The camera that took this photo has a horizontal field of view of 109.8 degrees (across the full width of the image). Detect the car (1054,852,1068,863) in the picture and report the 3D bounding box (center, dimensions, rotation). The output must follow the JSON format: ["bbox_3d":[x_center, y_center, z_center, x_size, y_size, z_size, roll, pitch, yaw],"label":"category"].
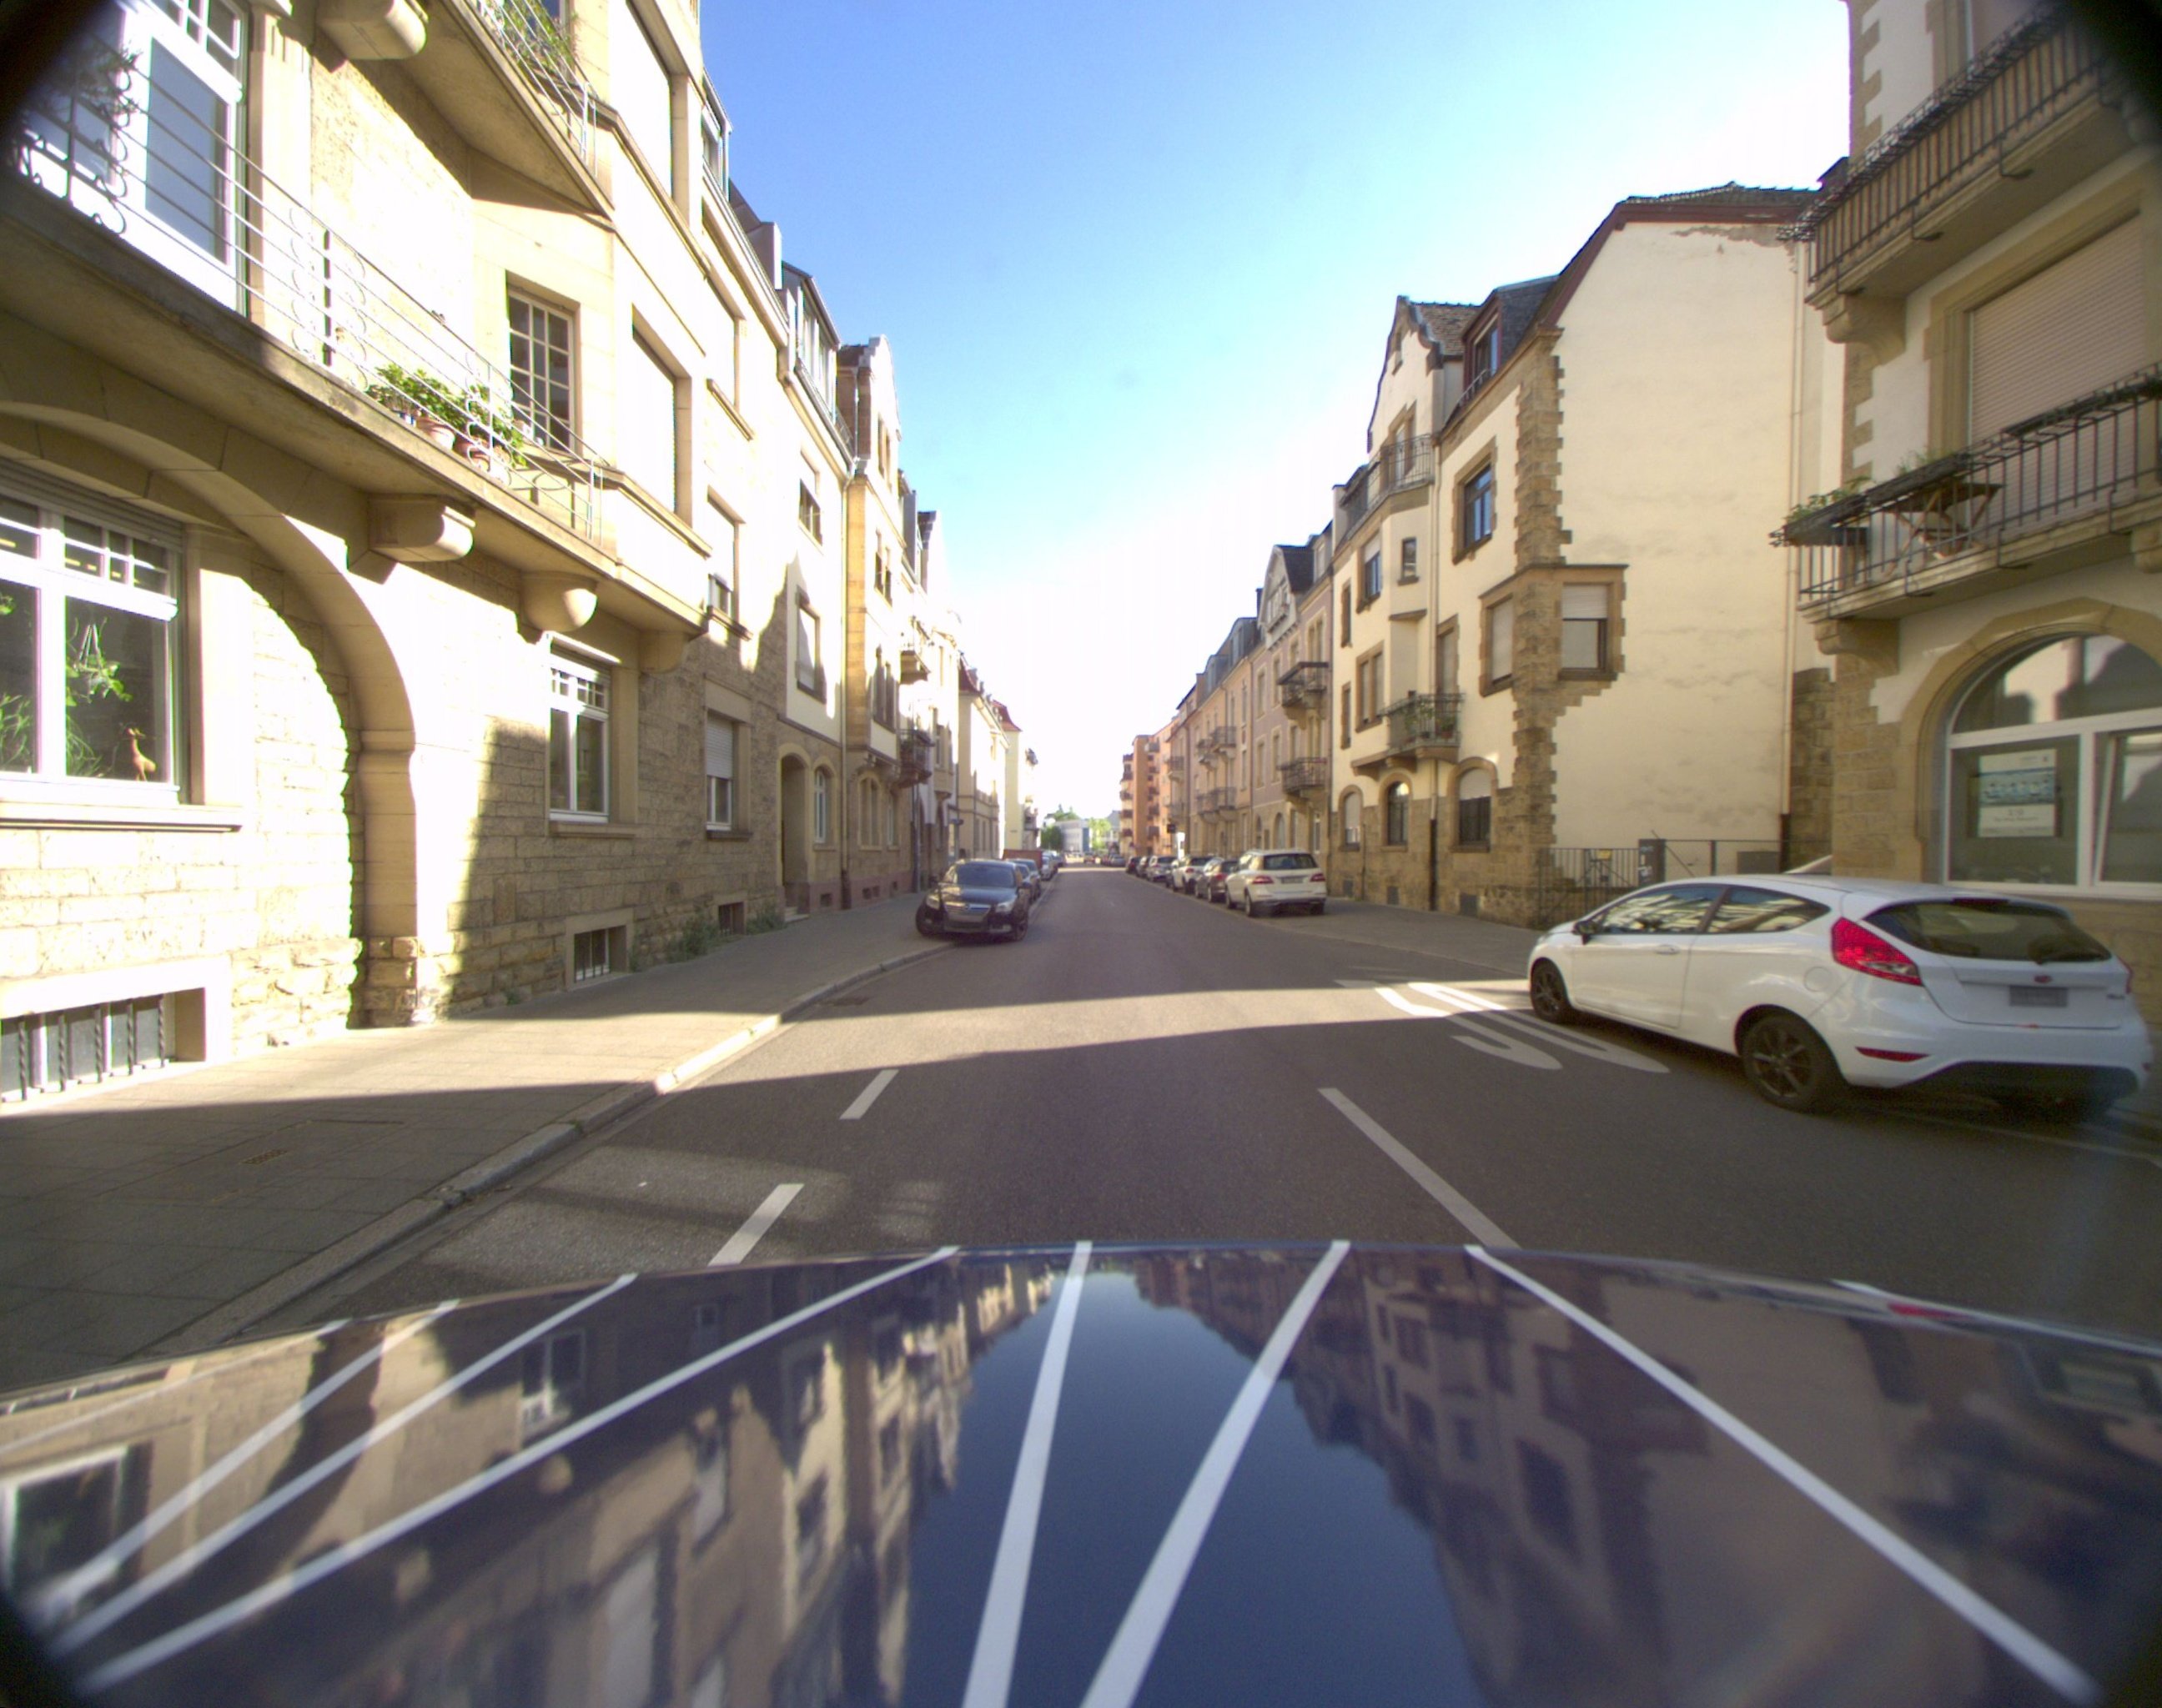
[{"bbox_3d":[-2.656,0.417,99.702,1.708,1.417,3.721,0,0,-2],"label":"car"}]

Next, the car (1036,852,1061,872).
[{"bbox_3d":[-2.647,0.645,63.520,1.791,1.655,4.434,0,0,1],"label":"car"}]

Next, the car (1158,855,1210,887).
[{"bbox_3d":[5.037,0.805,37.570,1.677,1.385,3.664,-3,0,-5],"label":"car"}]

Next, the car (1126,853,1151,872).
[{"bbox_3d":[4.722,0.682,62.679,1.719,1.378,3.864,-3,0,0],"label":"car"}]

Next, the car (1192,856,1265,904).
[{"bbox_3d":[5.081,0.858,26.687,1.578,1.479,4.279,-2,0,-2],"label":"car"}]

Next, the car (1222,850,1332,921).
[{"bbox_3d":[5.212,0.759,20.904,1.896,1.712,4.726,-1,0,1],"label":"car"}]

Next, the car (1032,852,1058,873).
[{"bbox_3d":[-2.765,0.608,59.086,1.684,1.537,3.914,1,0,1],"label":"car"}]

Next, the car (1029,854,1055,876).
[{"bbox_3d":[-2.671,0.743,53.017,1.657,1.456,4.093,0,0,-1],"label":"car"}]

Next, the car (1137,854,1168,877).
[{"bbox_3d":[4.892,0.759,52.393,1.719,1.512,4.109,1,0,-1],"label":"car"}]

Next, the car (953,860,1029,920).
[{"bbox_3d":[-2.383,0.907,20.935,1.655,1.434,4.257,1,0,-1],"label":"car"}]

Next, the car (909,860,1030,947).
[{"bbox_3d":[-2.068,0.869,15.285,1.870,1.453,4.338,0,0,-1],"label":"car"}]

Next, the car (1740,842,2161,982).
[{"bbox_3d":[11.835,0.723,10.384,3.978,1.718,1.909,0,0,0],"label":"car"}]

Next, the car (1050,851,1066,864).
[{"bbox_3d":[-2.617,0.391,87.889,1.708,1.417,3.721,1,1,-1],"label":"car"}]

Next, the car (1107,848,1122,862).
[{"bbox_3d":[4.500,0.172,102.016,1.822,1.867,4.111,0,0,-1],"label":"car"}]

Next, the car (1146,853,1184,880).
[{"bbox_3d":[5.000,0.715,45.700,1.719,1.529,3.722,-1,0,-2],"label":"car"}]

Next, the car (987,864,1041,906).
[{"bbox_3d":[-2.263,1.016,26.267,1.697,1.247,3.939,-1,0,-3],"label":"car"}]

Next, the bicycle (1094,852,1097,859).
[{"bbox_3d":[2.267,0.231,119.868,0.541,1.070,1.800,0,0,1],"label":"bicycle"}]

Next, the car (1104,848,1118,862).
[{"bbox_3d":[4.271,0.155,107.727,1.822,1.867,4.111,0,0,0],"label":"car"}]

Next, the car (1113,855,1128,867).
[{"bbox_3d":[4.733,0.855,91.285,1.678,1.414,3.500,0,0,0],"label":"car"}]

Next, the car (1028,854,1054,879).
[{"bbox_3d":[-2.473,0.751,47.631,1.590,1.456,3.711,0,0,-2],"label":"car"}]

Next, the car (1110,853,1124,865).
[{"bbox_3d":[4.552,0.602,96.174,1.678,1.414,3.285,1,0,0],"label":"car"}]

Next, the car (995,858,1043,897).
[{"bbox_3d":[-2.470,0.891,30.600,1.791,1.421,3.806,0,0,-4],"label":"car"}]

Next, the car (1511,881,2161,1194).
[{"bbox_3d":[5.112,1.018,5.806,1.637,1.455,3.735,0,1,2],"label":"car"}]

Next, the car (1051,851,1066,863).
[{"bbox_3d":[-2.761,0.346,93.352,1.708,1.417,3.721,1,1,-1],"label":"car"}]

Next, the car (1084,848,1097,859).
[{"bbox_3d":[1.644,-0.063,130.725,1.868,1.925,4.598,0,0,-3],"label":"car"}]

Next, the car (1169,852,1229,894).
[{"bbox_3d":[4.919,0.753,32.186,1.719,1.574,4.019,-3,0,-2],"label":"car"}]
